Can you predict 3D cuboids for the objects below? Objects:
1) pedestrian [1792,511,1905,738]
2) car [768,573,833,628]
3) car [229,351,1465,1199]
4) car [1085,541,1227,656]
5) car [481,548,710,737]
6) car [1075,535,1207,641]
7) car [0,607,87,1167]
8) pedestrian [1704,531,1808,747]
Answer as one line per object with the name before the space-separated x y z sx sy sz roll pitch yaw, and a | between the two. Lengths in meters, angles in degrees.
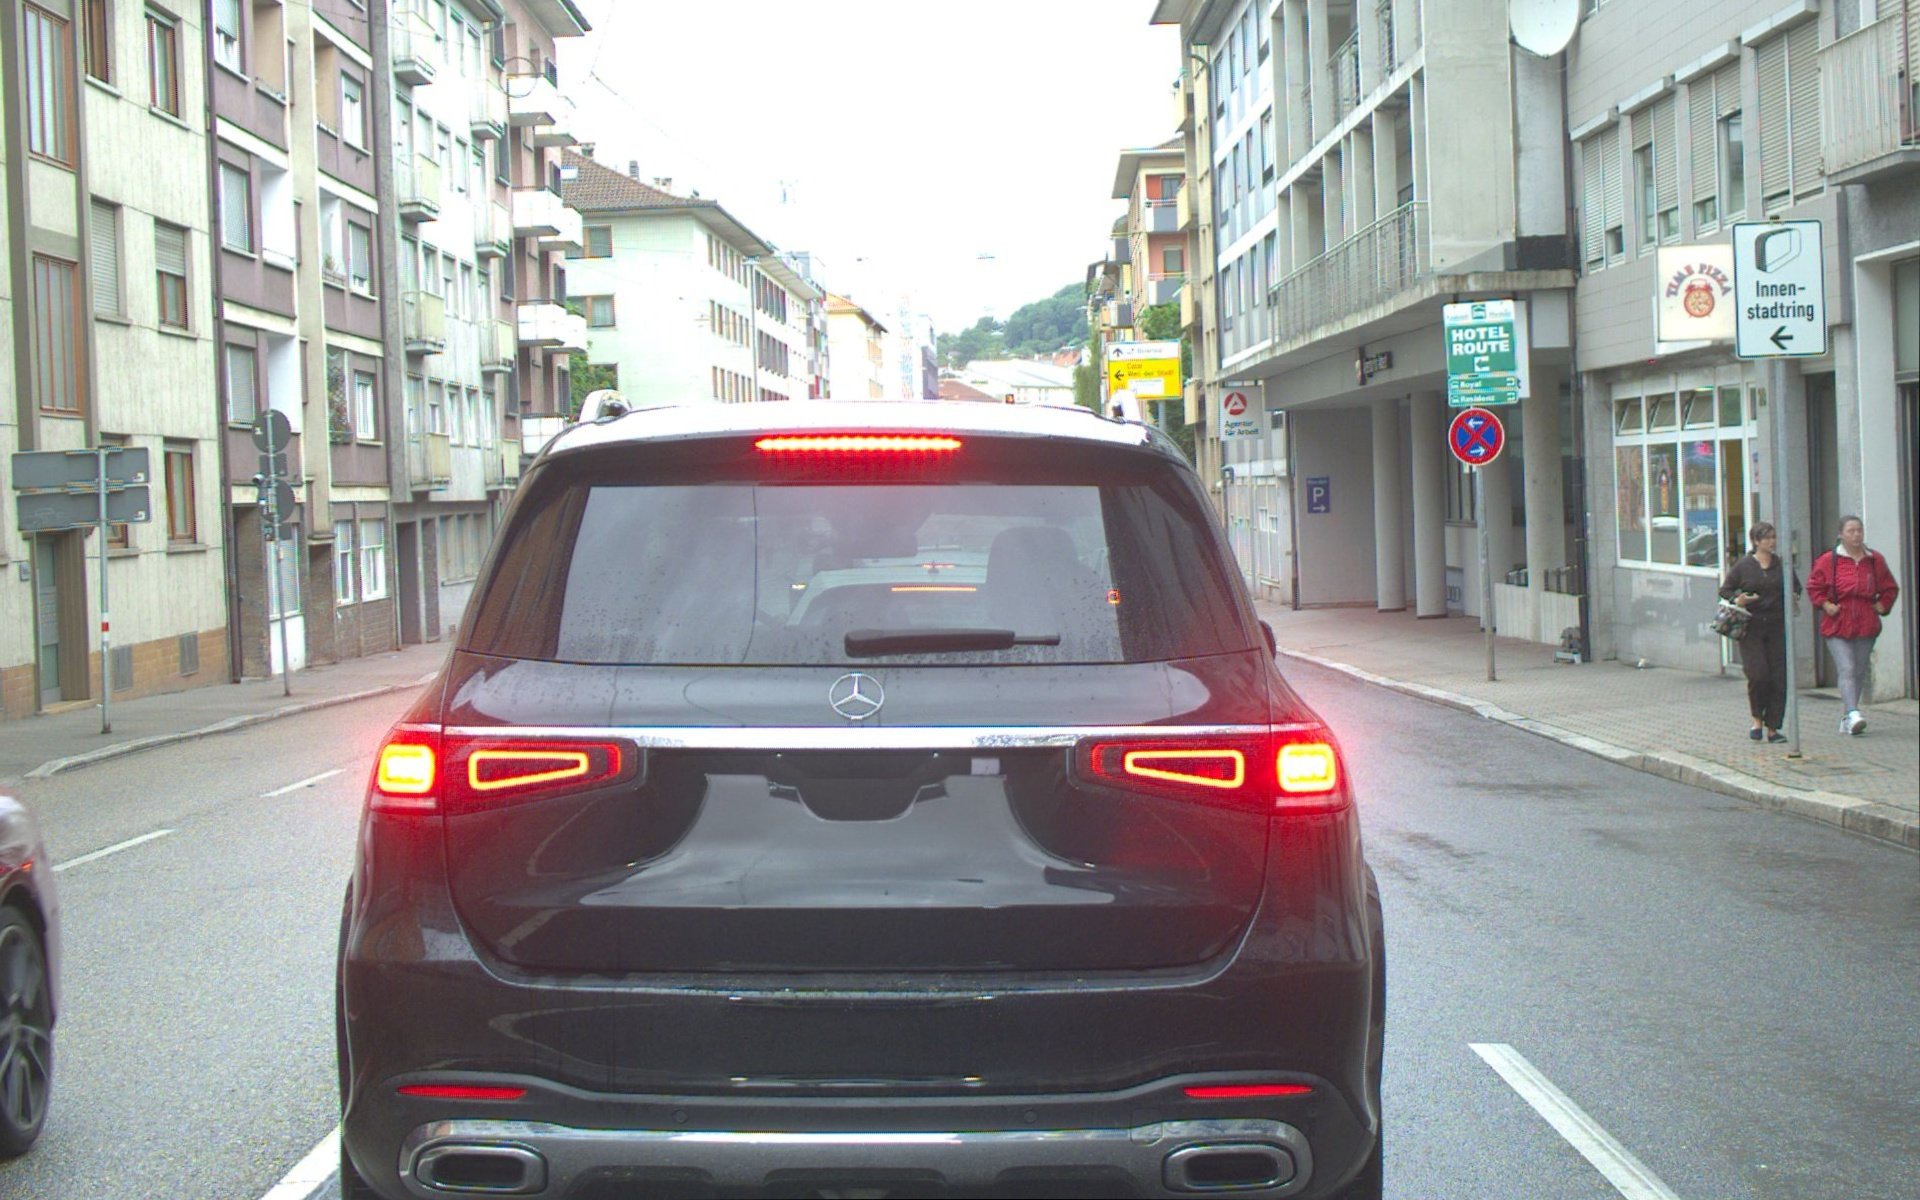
pedestrian | 6.376 0.169 24.685 0.560 1.573 0.526 -4 1 -1
car | -4.546 -0.003 98.306 1.648 1.434 4.125 -3 1 -1
car | -0.229 0.472 7.696 2.025 1.799 4.000 1 1 -1
car | 2.788 -0.059 49.576 1.767 1.575 4.000 -1 1 -1
car | -3.446 0.354 33.098 1.732 1.570 4.012 -5 1 -1
car | 3.101 -0.240 59.808 1.940 1.769 4.747 0 1 -1
car | -3.281 0.790 7.292 1.724 1.385 4.339 -3 1 -1
pedestrian | 5.693 0.272 24.615 0.506 1.495 0.562 -4 1 -1
